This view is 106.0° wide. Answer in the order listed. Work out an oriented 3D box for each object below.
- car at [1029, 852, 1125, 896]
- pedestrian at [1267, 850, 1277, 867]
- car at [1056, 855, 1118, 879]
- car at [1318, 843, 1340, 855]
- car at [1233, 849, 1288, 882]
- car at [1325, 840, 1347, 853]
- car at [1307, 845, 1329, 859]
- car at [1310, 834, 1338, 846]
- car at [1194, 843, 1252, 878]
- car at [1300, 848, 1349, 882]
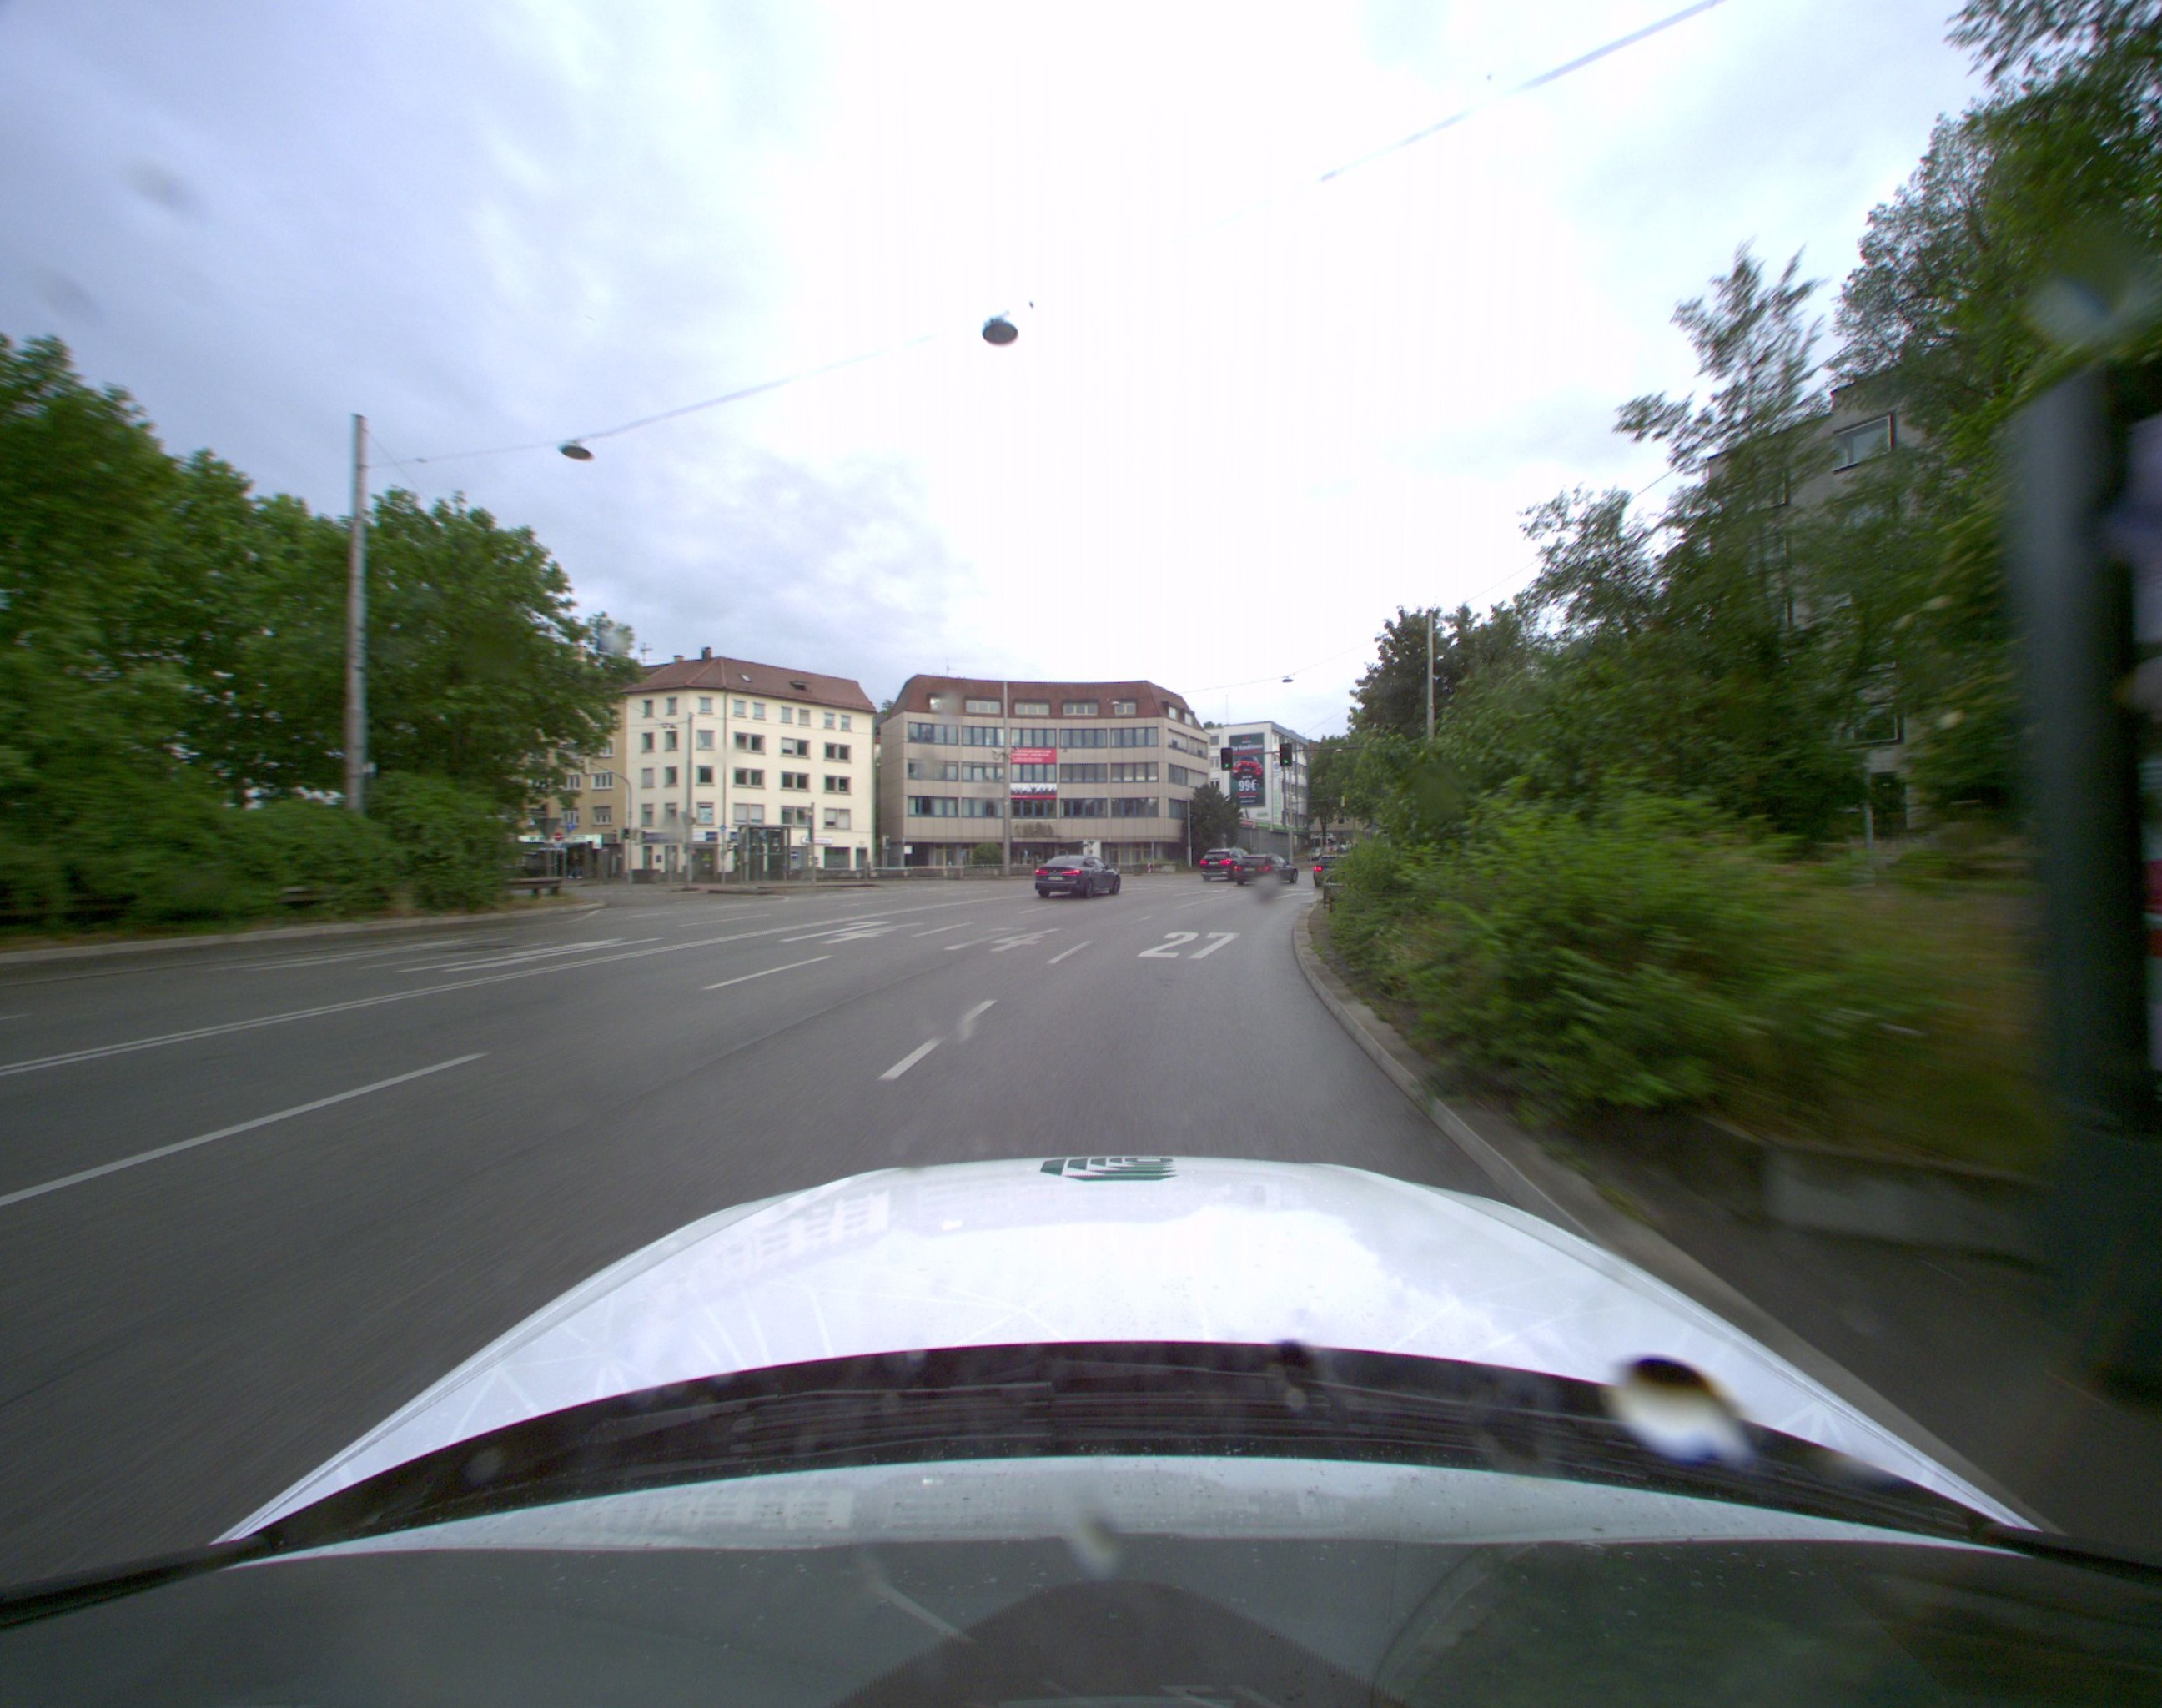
[{"bbox_3d":[-0.030,0.700,28.523,1.775,1.427,4.408,-2,-2,22],"label":"car"},{"bbox_3d":[23.120,0.562,98.618,0.831,2.014,0.987,-2,-2,30],"label":"pedestrian"},{"bbox_3d":[0.465,1.000,64.207,4.450,1.843,1.982,0,-2,-27],"label":"car"},{"bbox_3d":[34.333,-0.717,112.802,1.815,1.430,4.097,-2,3,33],"label":"car"},{"bbox_3d":[8.486,0.498,38.285,1.776,1.426,4.637,0,0,22],"label":"car"},{"bbox_3d":[36.630,-1.087,116.794,1.815,1.430,4.097,-2,3,35],"label":"car"},{"bbox_3d":[31.493,-0.280,108.157,1.815,1.463,4.205,-2,3,31],"label":"car"},{"bbox_3d":[42.195,-2.406,141.602,4.376,2.006,2.012,-2,-2,26],"label":"car"},{"bbox_3d":[7.435,0.361,42.425,1.882,1.693,4.023,-2,-2,26],"label":"car"},{"bbox_3d":[11.053,0.522,36.793,1.942,1.427,4.144,-1,-2,18],"label":"car"}]
